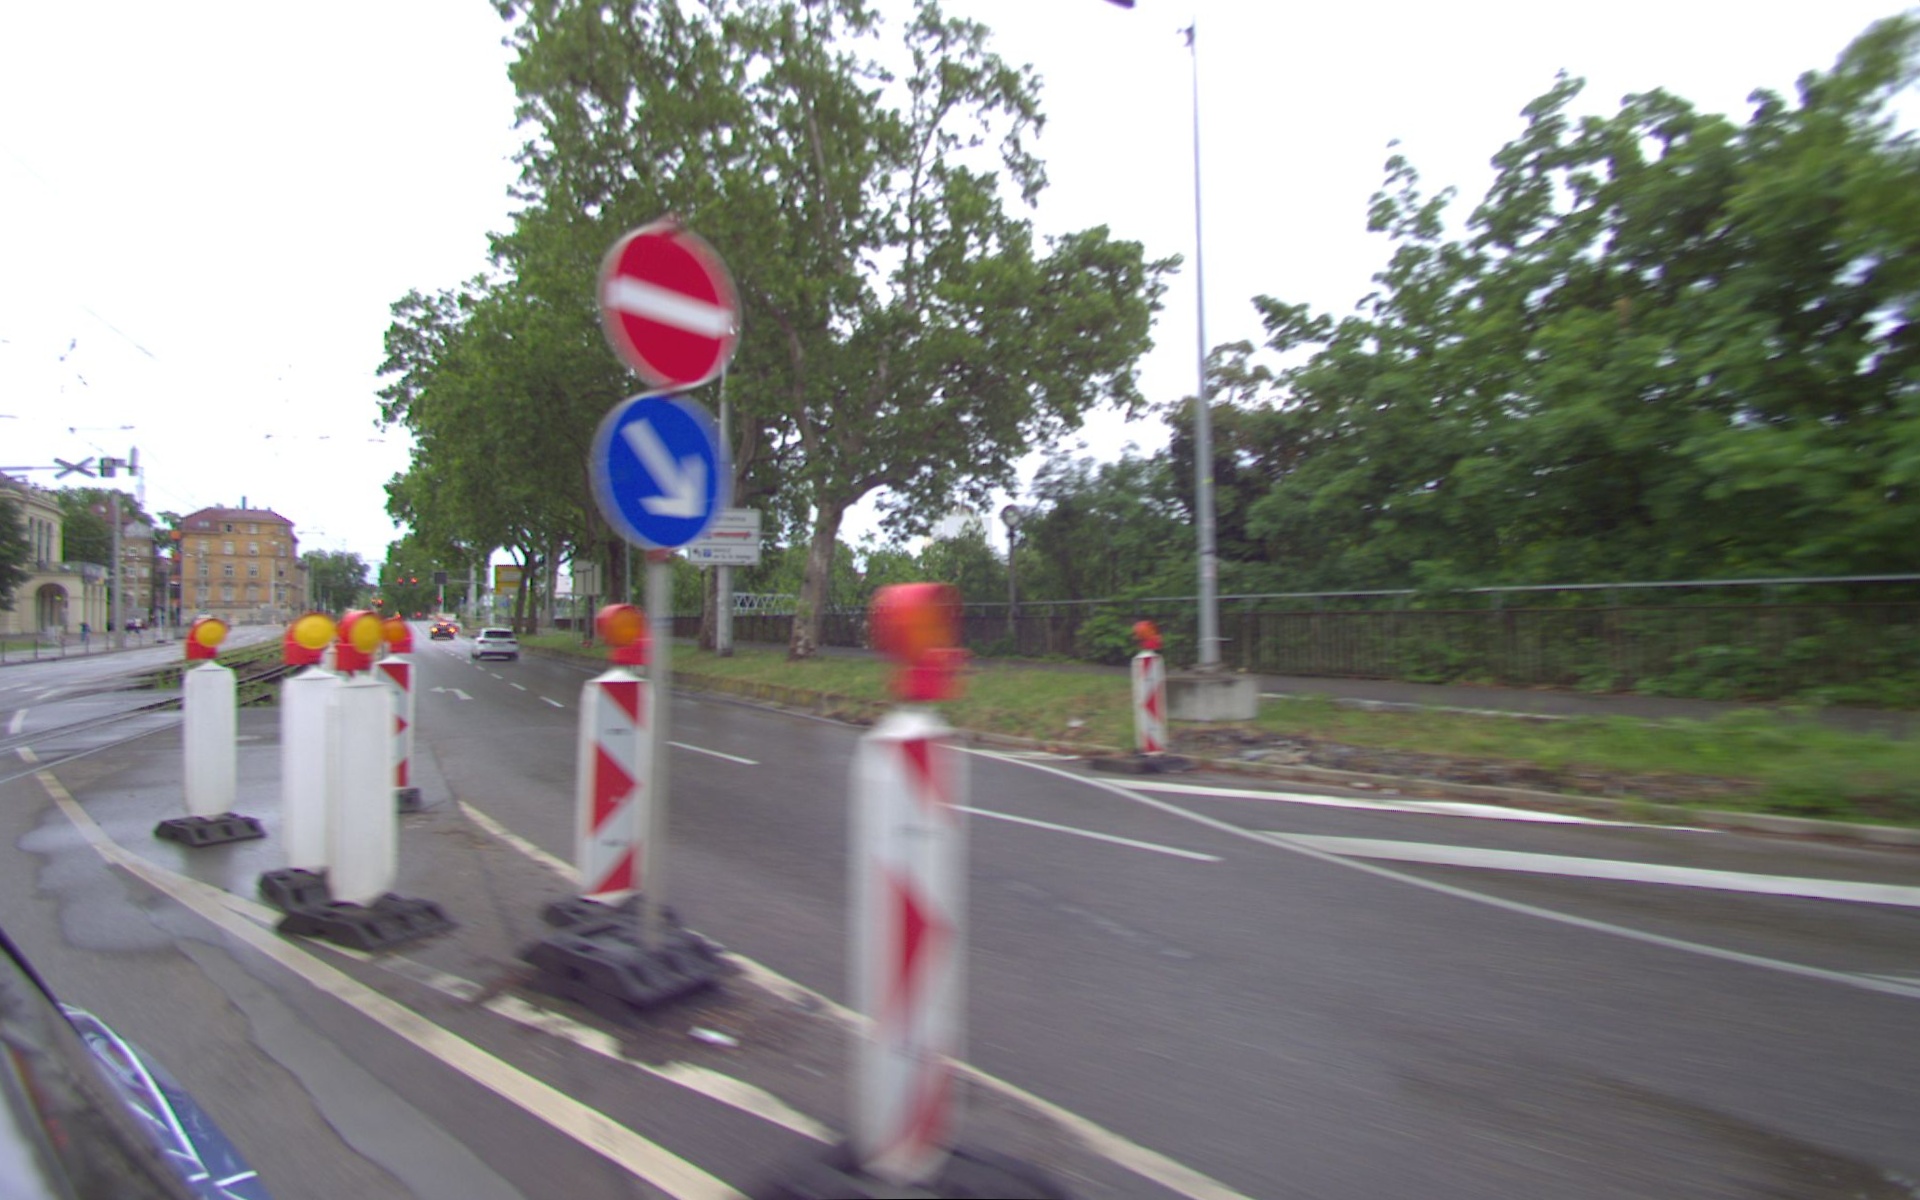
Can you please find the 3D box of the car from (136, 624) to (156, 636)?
[{"bbox_3d":[-108.324,3.993,134.696,1.802,1.594,4.009,1,-1,-36],"label":"car"}]

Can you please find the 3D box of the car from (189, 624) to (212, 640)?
[{"bbox_3d":[-85.512,3.582,113.966,1.814,1.652,4.153,-4,1,-35],"label":"car"}]

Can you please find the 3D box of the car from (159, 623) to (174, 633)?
[{"bbox_3d":[-131.890,4.573,168.325,1.802,1.594,4.009,1,-1,-36],"label":"car"}]

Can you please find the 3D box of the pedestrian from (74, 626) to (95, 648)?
[{"bbox_3d":[-64.312,2.708,74.348,0.852,1.603,0.669,1,-2,-4],"label":"pedestrian"}]

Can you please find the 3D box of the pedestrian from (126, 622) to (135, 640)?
[{"bbox_3d":[-80.975,3.027,98.757,0.619,1.657,0.782,1,-1,-37],"label":"pedestrian"}]

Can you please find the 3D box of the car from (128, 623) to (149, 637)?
[{"bbox_3d":[-102.046,3.698,125.779,1.802,1.594,4.009,1,-1,-36],"label":"car"}]

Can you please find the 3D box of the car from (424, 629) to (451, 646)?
[{"bbox_3d":[-44.395,3.180,85.930,1.722,1.441,4.573,2,-2,-31],"label":"car"}]

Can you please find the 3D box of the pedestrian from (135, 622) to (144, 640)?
[{"bbox_3d":[-80.363,3.026,99.158,0.585,1.749,0.841,1,-1,-33],"label":"pedestrian"}]

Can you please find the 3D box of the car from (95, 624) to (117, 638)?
[{"bbox_3d":[-104.786,3.826,124.199,1.834,1.560,4.075,-1,0,-37],"label":"car"}]

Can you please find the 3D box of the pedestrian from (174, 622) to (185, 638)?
[{"bbox_3d":[-90.106,3.514,116.843,0.693,1.820,0.776,-1,0,19],"label":"pedestrian"}]

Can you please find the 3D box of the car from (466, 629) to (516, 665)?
[{"bbox_3d":[-21.288,2.097,45.861,1.685,1.510,4.734,2,-2,-29],"label":"car"}]
